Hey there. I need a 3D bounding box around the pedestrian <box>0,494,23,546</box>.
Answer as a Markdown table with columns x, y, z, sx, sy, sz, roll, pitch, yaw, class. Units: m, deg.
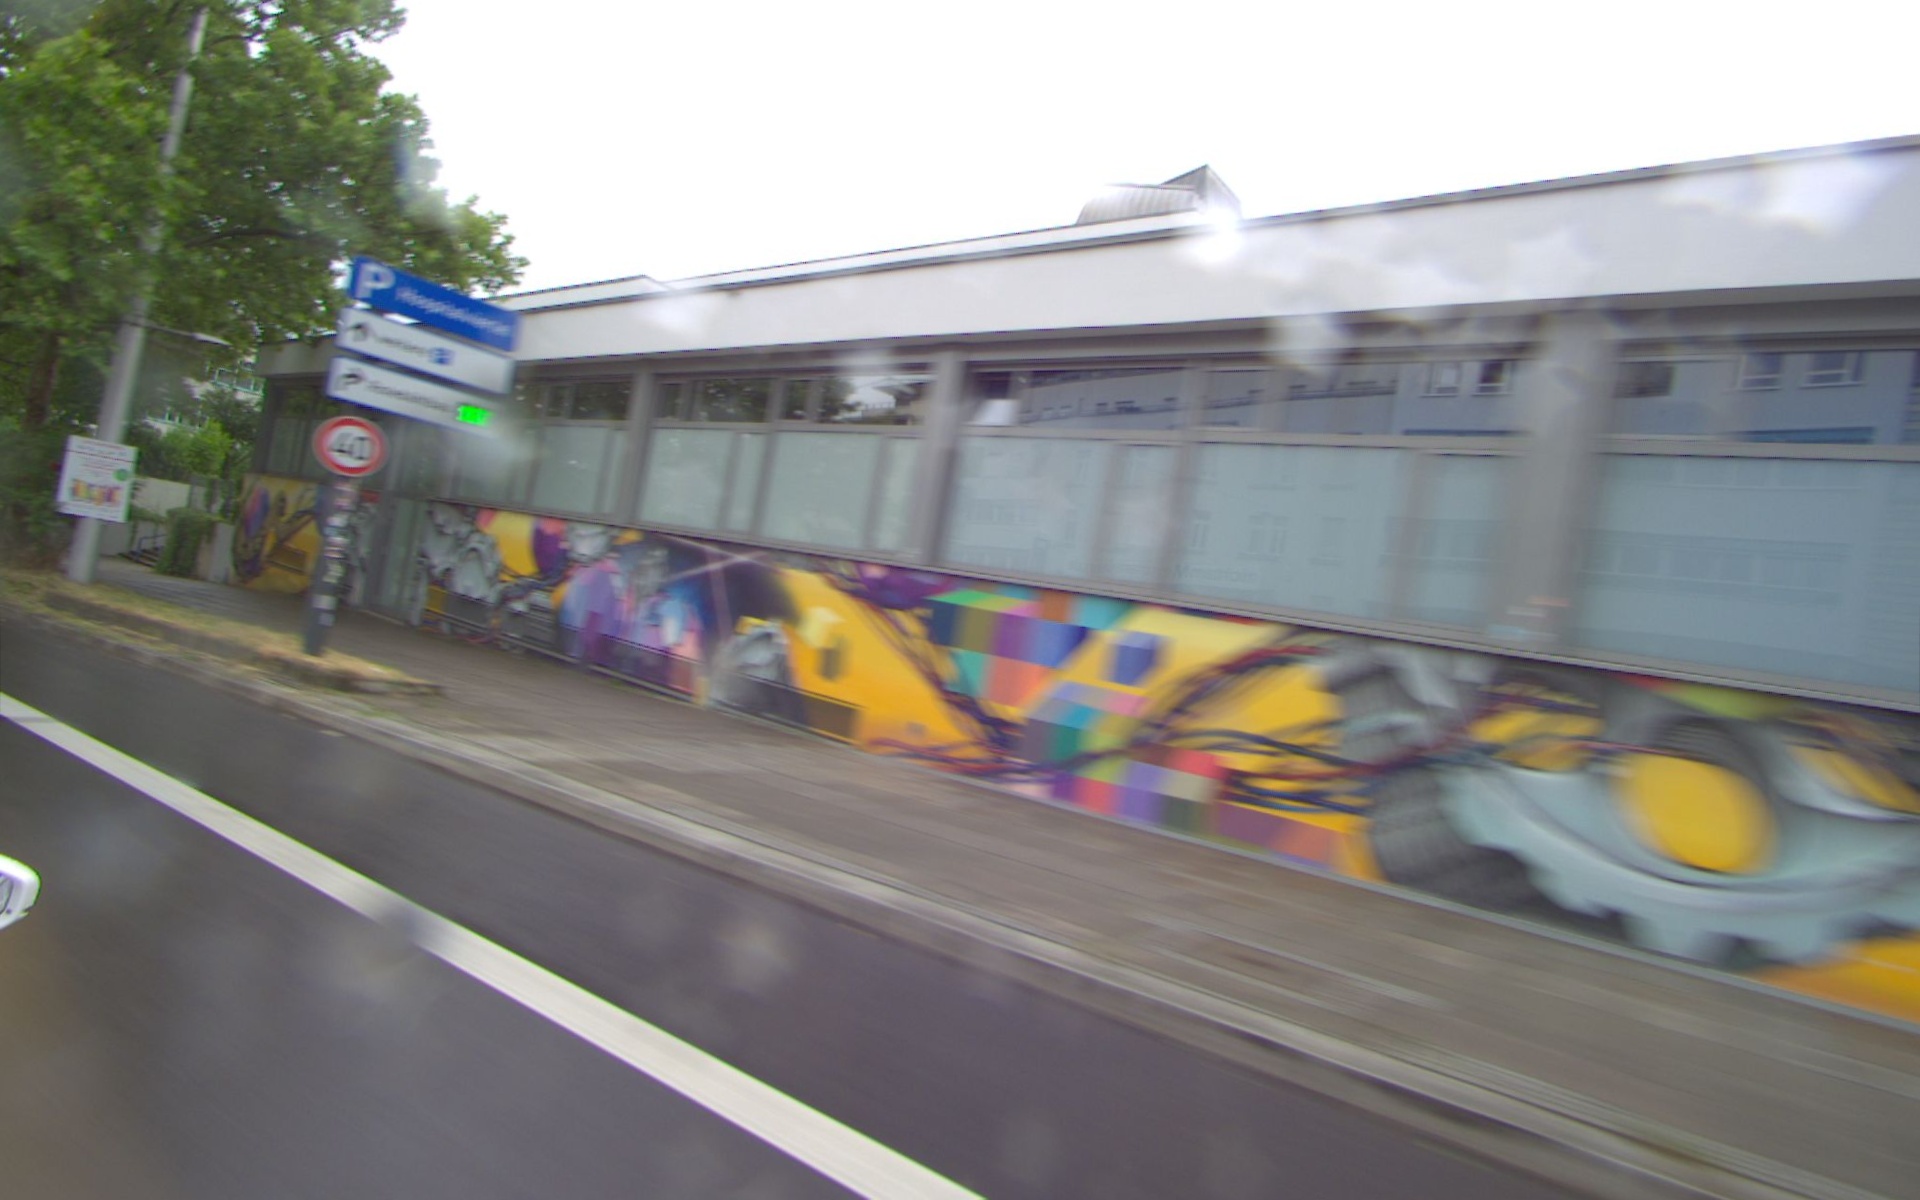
| x | y | z | sx | sy | sz | roll | pitch | yaw | class |
| --- | --- | --- | --- | --- | --- | --- | --- | --- | --- |
| -36.707 | -3.097 | 38.565 | 1.040 | 1.886 | 0.807 | 7 | -1 | 37 | pedestrian |
